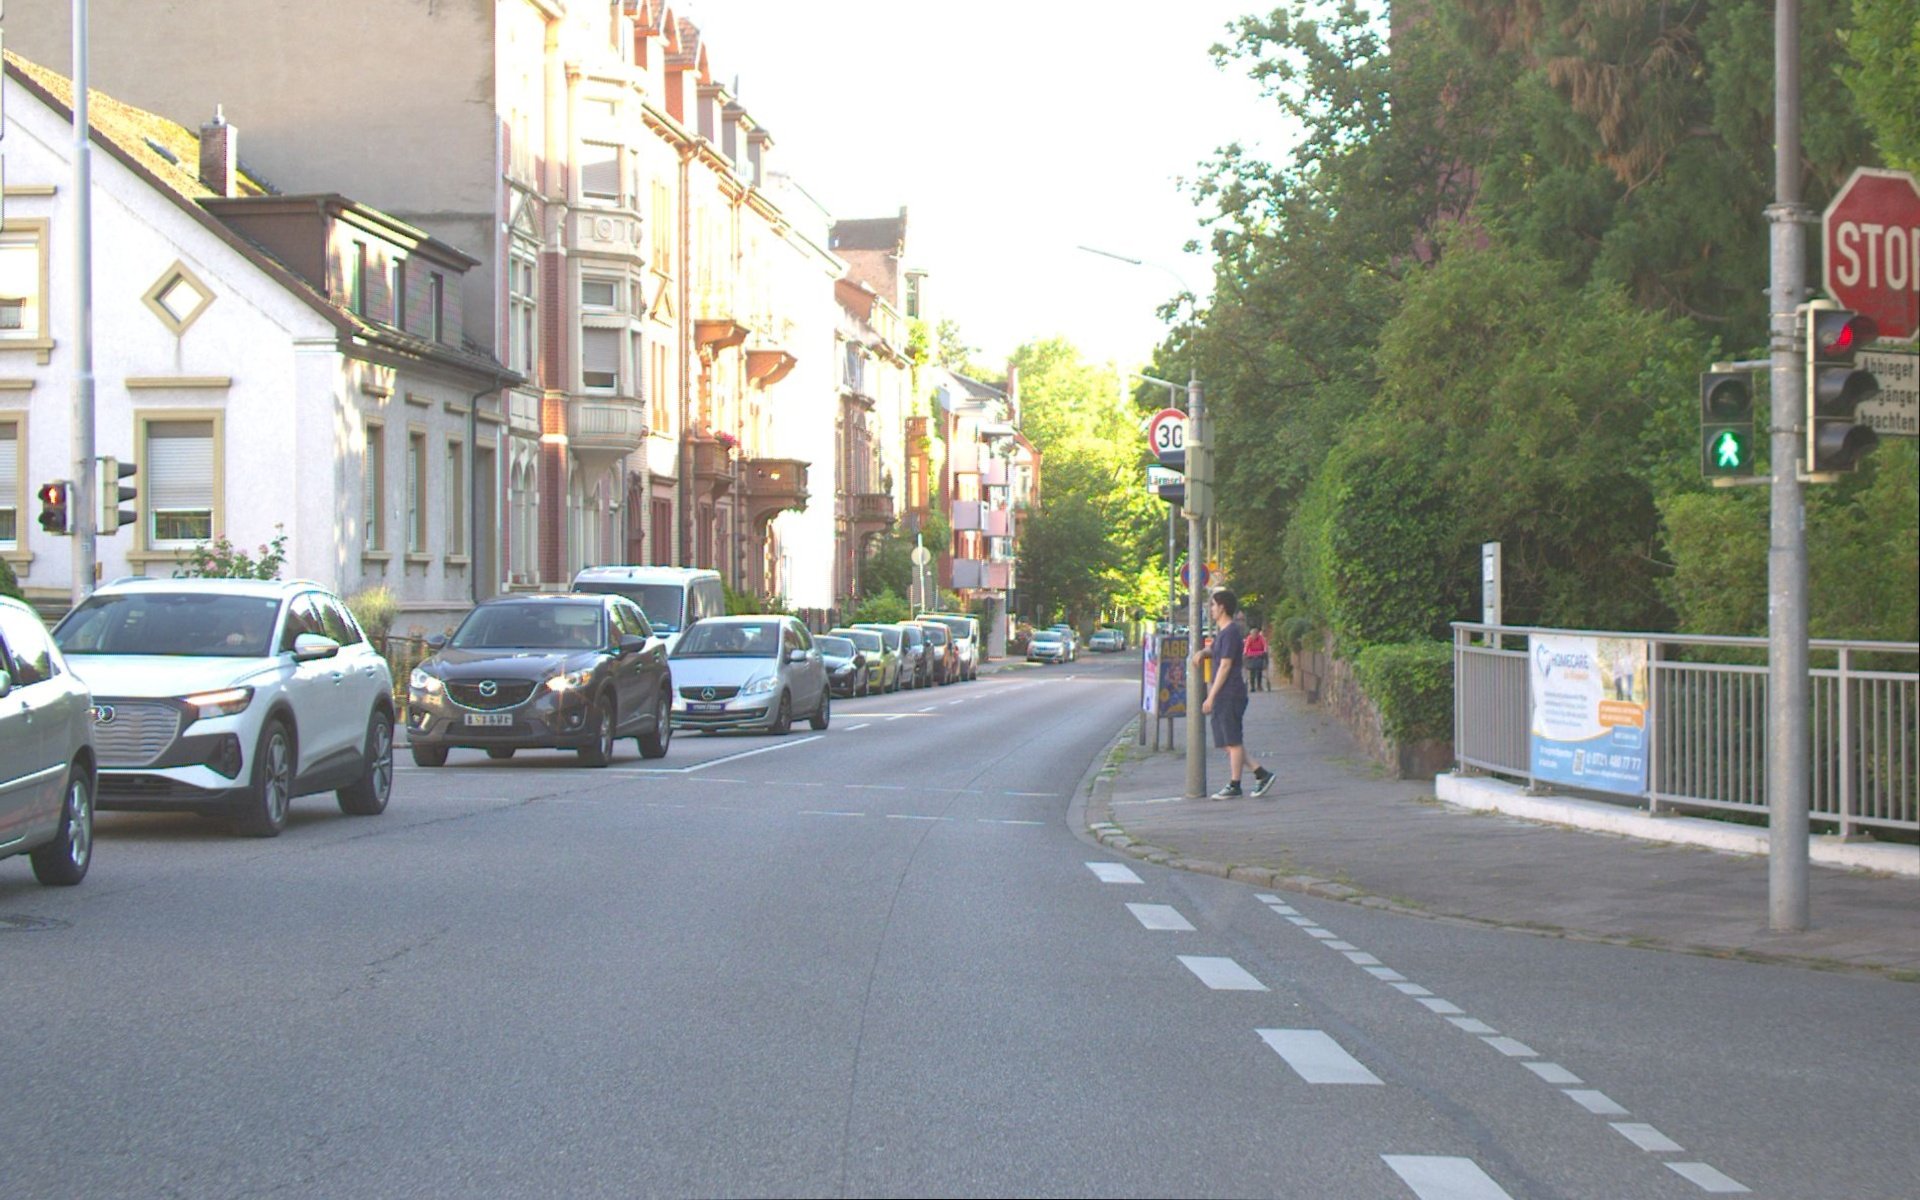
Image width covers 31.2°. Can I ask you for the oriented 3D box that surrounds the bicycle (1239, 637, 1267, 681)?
[{"bbox_3d":[6.575,1.321,77.130,0.566,0.967,0.492,1,1,2],"label":"bicycle"}]

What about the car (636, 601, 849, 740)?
[{"bbox_3d":[-2.820,0.892,45.534,1.954,1.643,4.282,1,1,8],"label":"car"}]

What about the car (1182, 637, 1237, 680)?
[{"bbox_3d":[9.705,2.255,133.653,1.994,1.512,3.999,-1,1,6],"label":"car"}]

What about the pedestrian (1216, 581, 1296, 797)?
[{"bbox_3d":[2.359,0.702,27.415,0.602,1.687,0.612,-1,1,4],"label":"pedestrian"}]

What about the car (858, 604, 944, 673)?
[{"bbox_3d":[-1.499,0.979,88.904,1.703,1.702,4.439,1,0,5],"label":"car"}]

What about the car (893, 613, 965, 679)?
[{"bbox_3d":[-0.828,1.253,94.714,1.702,1.732,3.856,1,0,3],"label":"car"}]

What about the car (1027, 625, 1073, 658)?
[{"bbox_3d":[4.382,1.997,166.503,1.994,1.486,4.470,-1,1,4],"label":"car"}]

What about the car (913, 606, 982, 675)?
[{"bbox_3d":[-0.351,1.223,105.359,1.793,2.003,4.697,1,0,3],"label":"car"}]

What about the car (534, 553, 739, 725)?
[{"bbox_3d":[-4.907,0.569,53.114,2.068,2.452,6.013,1,0,5],"label":"car"}]

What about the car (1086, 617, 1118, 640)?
[{"bbox_3d":[9.611,1.928,232.704,1.994,1.486,4.470,-1,1,4],"label":"car"}]

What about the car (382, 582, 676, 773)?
[{"bbox_3d":[-4.084,0.688,33.296,1.954,1.643,4.282,1,1,5],"label":"car"}]

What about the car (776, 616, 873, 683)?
[{"bbox_3d":[-2.906,1.055,74.559,1.702,1.362,3.859,1,0,3],"label":"car"}]

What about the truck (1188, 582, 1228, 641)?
[{"bbox_3d":[12.581,0.574,174.480,1.994,2.887,4.470,-1,1,4],"label":"truck"}]

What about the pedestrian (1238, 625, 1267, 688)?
[{"bbox_3d":[6.614,1.277,77.729,0.598,1.398,0.668,1,1,3],"label":"pedestrian"}]

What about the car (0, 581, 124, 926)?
[{"bbox_3d":[-5.102,0.668,15.494,1.775,1.475,4.097,1,1,-2],"label":"car"}]

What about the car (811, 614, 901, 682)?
[{"bbox_3d":[-2.378,1.139,79.610,1.702,1.498,4.071,1,-1,3],"label":"car"}]

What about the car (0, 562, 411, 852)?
[{"bbox_3d":[-4.937,0.603,22.459,1.775,1.643,4.534,1,1,2],"label":"car"}]
